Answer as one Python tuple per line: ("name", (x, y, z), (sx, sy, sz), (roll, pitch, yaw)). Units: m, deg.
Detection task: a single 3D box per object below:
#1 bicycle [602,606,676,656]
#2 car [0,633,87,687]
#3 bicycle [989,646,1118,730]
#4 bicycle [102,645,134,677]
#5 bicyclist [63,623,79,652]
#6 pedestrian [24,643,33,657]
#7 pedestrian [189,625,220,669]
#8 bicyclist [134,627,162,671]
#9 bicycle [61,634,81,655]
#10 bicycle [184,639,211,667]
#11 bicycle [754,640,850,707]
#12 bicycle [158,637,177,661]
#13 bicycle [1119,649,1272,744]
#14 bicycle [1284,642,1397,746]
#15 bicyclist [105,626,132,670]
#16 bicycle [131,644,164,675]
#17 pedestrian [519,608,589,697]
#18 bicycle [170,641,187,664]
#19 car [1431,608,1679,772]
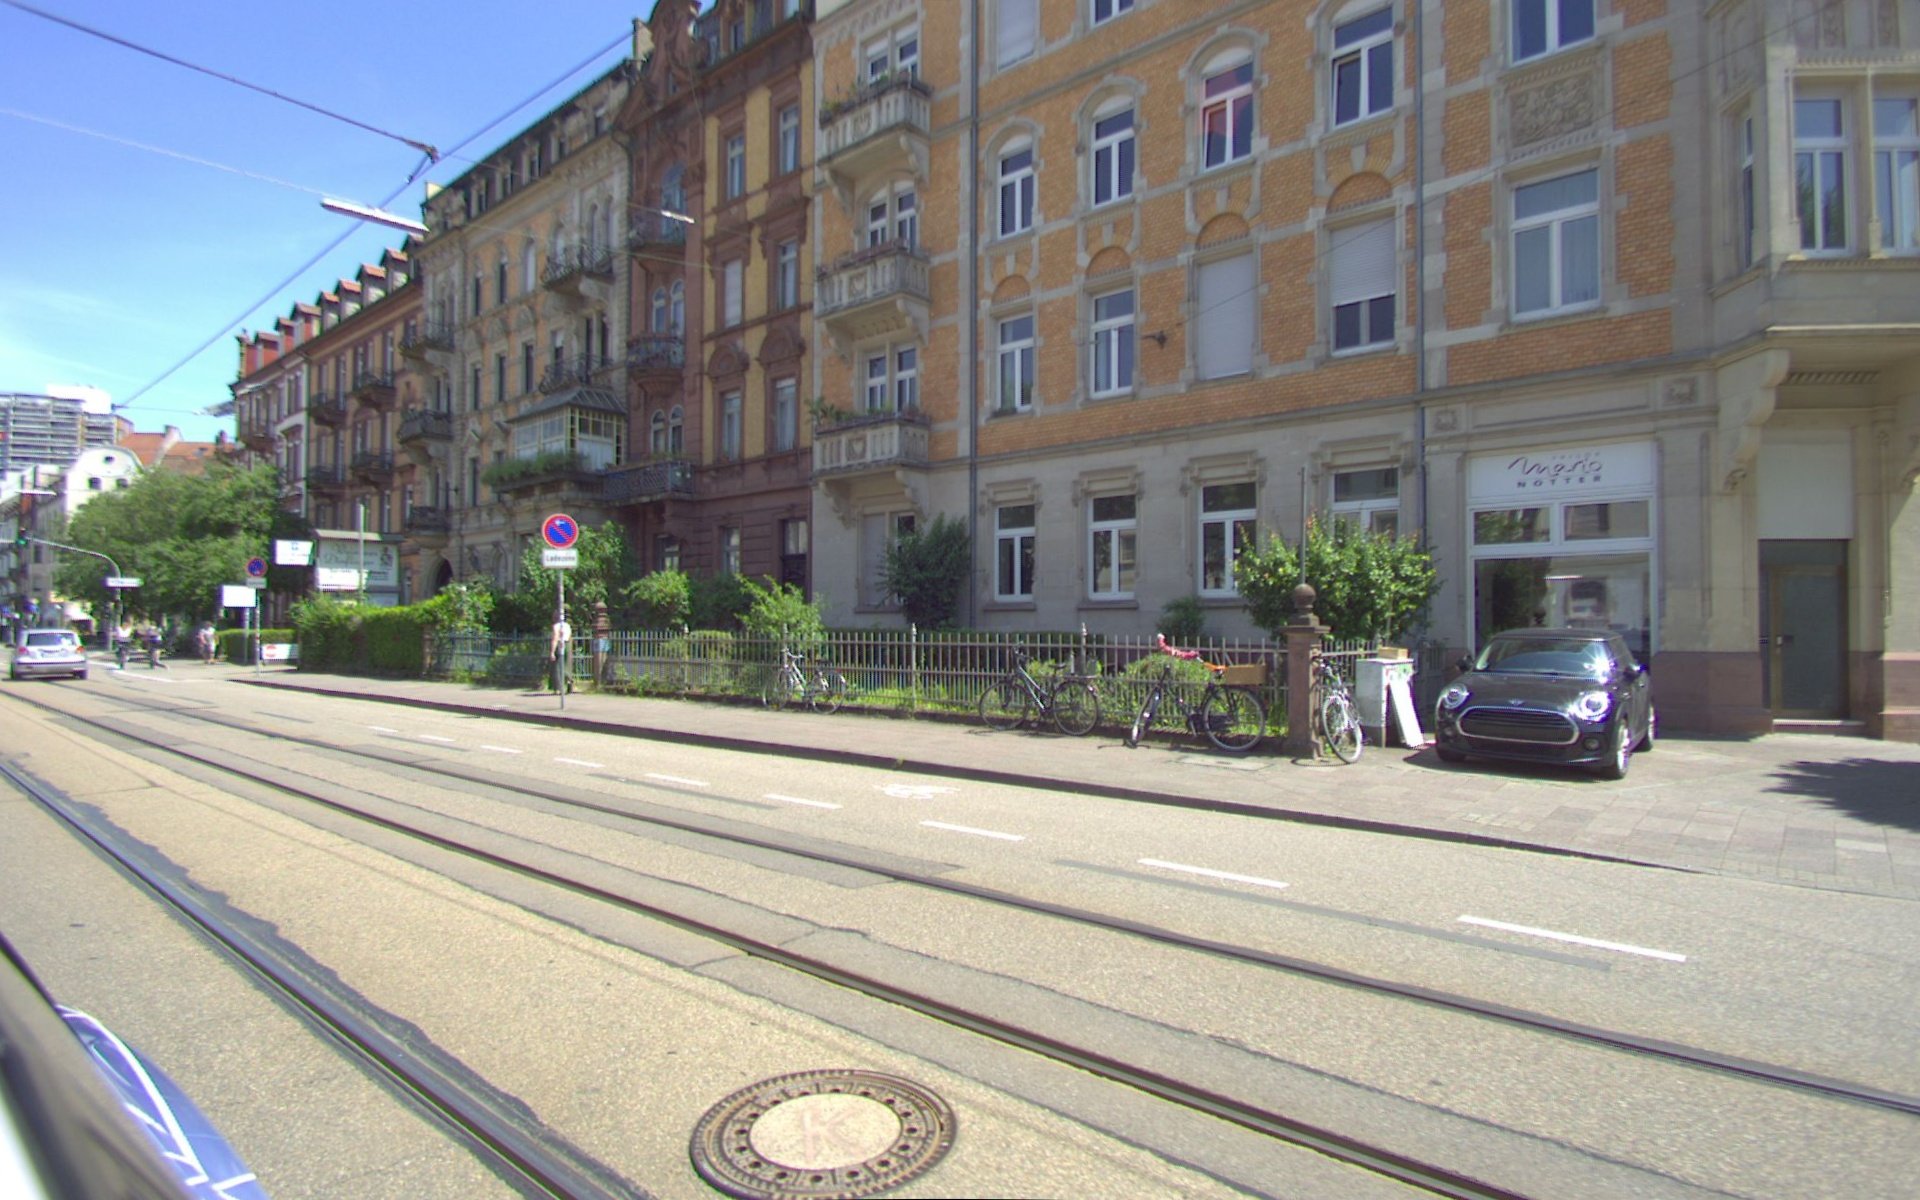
("bicycle", (-6.948, 0.659, 21.946), (0.495, 1.051, 1.494), (-1, -1, 42))
("car", (-27.258, 1.729, 29.929), (3.999, 1.460, 1.667), (-1, -2, 42))
("bicycle", (1.183, 1.111, 13.113), (1.709, 0.991, 0.434), (-1, -1, 40))
("bicycle", (-30.866, 2.224, 37.081), (1.889, 1.086, 0.575), (-1, -2, 41))
("bicyclist", (-47.273, 1.991, 53.823), (0.891, 1.527, 0.556), (-1, -1, 42))
("pedestrian", (-93.283, 5.007, 101.336), (0.519, 1.452, 0.531), (-1, -1, 31))
("pedestrian", (-29.727, 1.830, 39.820), (0.861, 1.713, 1.014), (0, -1, -43))
("bicyclist", (-30.299, 1.818, 37.758), (1.028, 1.596, 0.627), (-1, -2, 41))
("bicycle", (-47.278, 2.350, 53.822), (1.828, 1.046, 0.561), (-1, -1, 42))
("bicycle", (-33.445, 2.310, 44.377), (1.932, 1.101, 0.631), (-1, 1, 44))
("bicycle", (-2.608, 1.181, 16.592), (1.709, 0.994, 0.492), (-1, 3, 40))
("bicycle", (-40.262, 2.470, 51.408), (1.716, 1.178, 0.566), (-1, -1, 44))
("bicycle", (2.709, 1.091, 11.758), (1.709, 0.991, 0.434), (-1, -1, 40))
("bicycle", (4.369, 1.036, 11.563), (1.685, 1.045, 0.551), (0, -1, -45))
("bicyclist", (-30.850, 1.750, 37.087), (0.951, 1.556, 0.586), (-1, -2, 41))
("bicycle", (-30.336, 2.204, 37.775), (1.874, 1.086, 0.622), (-1, -2, 41))
("pedestrian", (-8.382, 1.051, 20.895), (1.138, 1.736, 0.842), (-1, 2, 41))
("bicycle", (-38.629, 2.588, 50.000), (1.565, 1.064, 0.454), (-1, -1, 44))
("car", (6.684, 0.835, 11.199), (1.713, 1.439, 3.720), (0, 0, 41))
